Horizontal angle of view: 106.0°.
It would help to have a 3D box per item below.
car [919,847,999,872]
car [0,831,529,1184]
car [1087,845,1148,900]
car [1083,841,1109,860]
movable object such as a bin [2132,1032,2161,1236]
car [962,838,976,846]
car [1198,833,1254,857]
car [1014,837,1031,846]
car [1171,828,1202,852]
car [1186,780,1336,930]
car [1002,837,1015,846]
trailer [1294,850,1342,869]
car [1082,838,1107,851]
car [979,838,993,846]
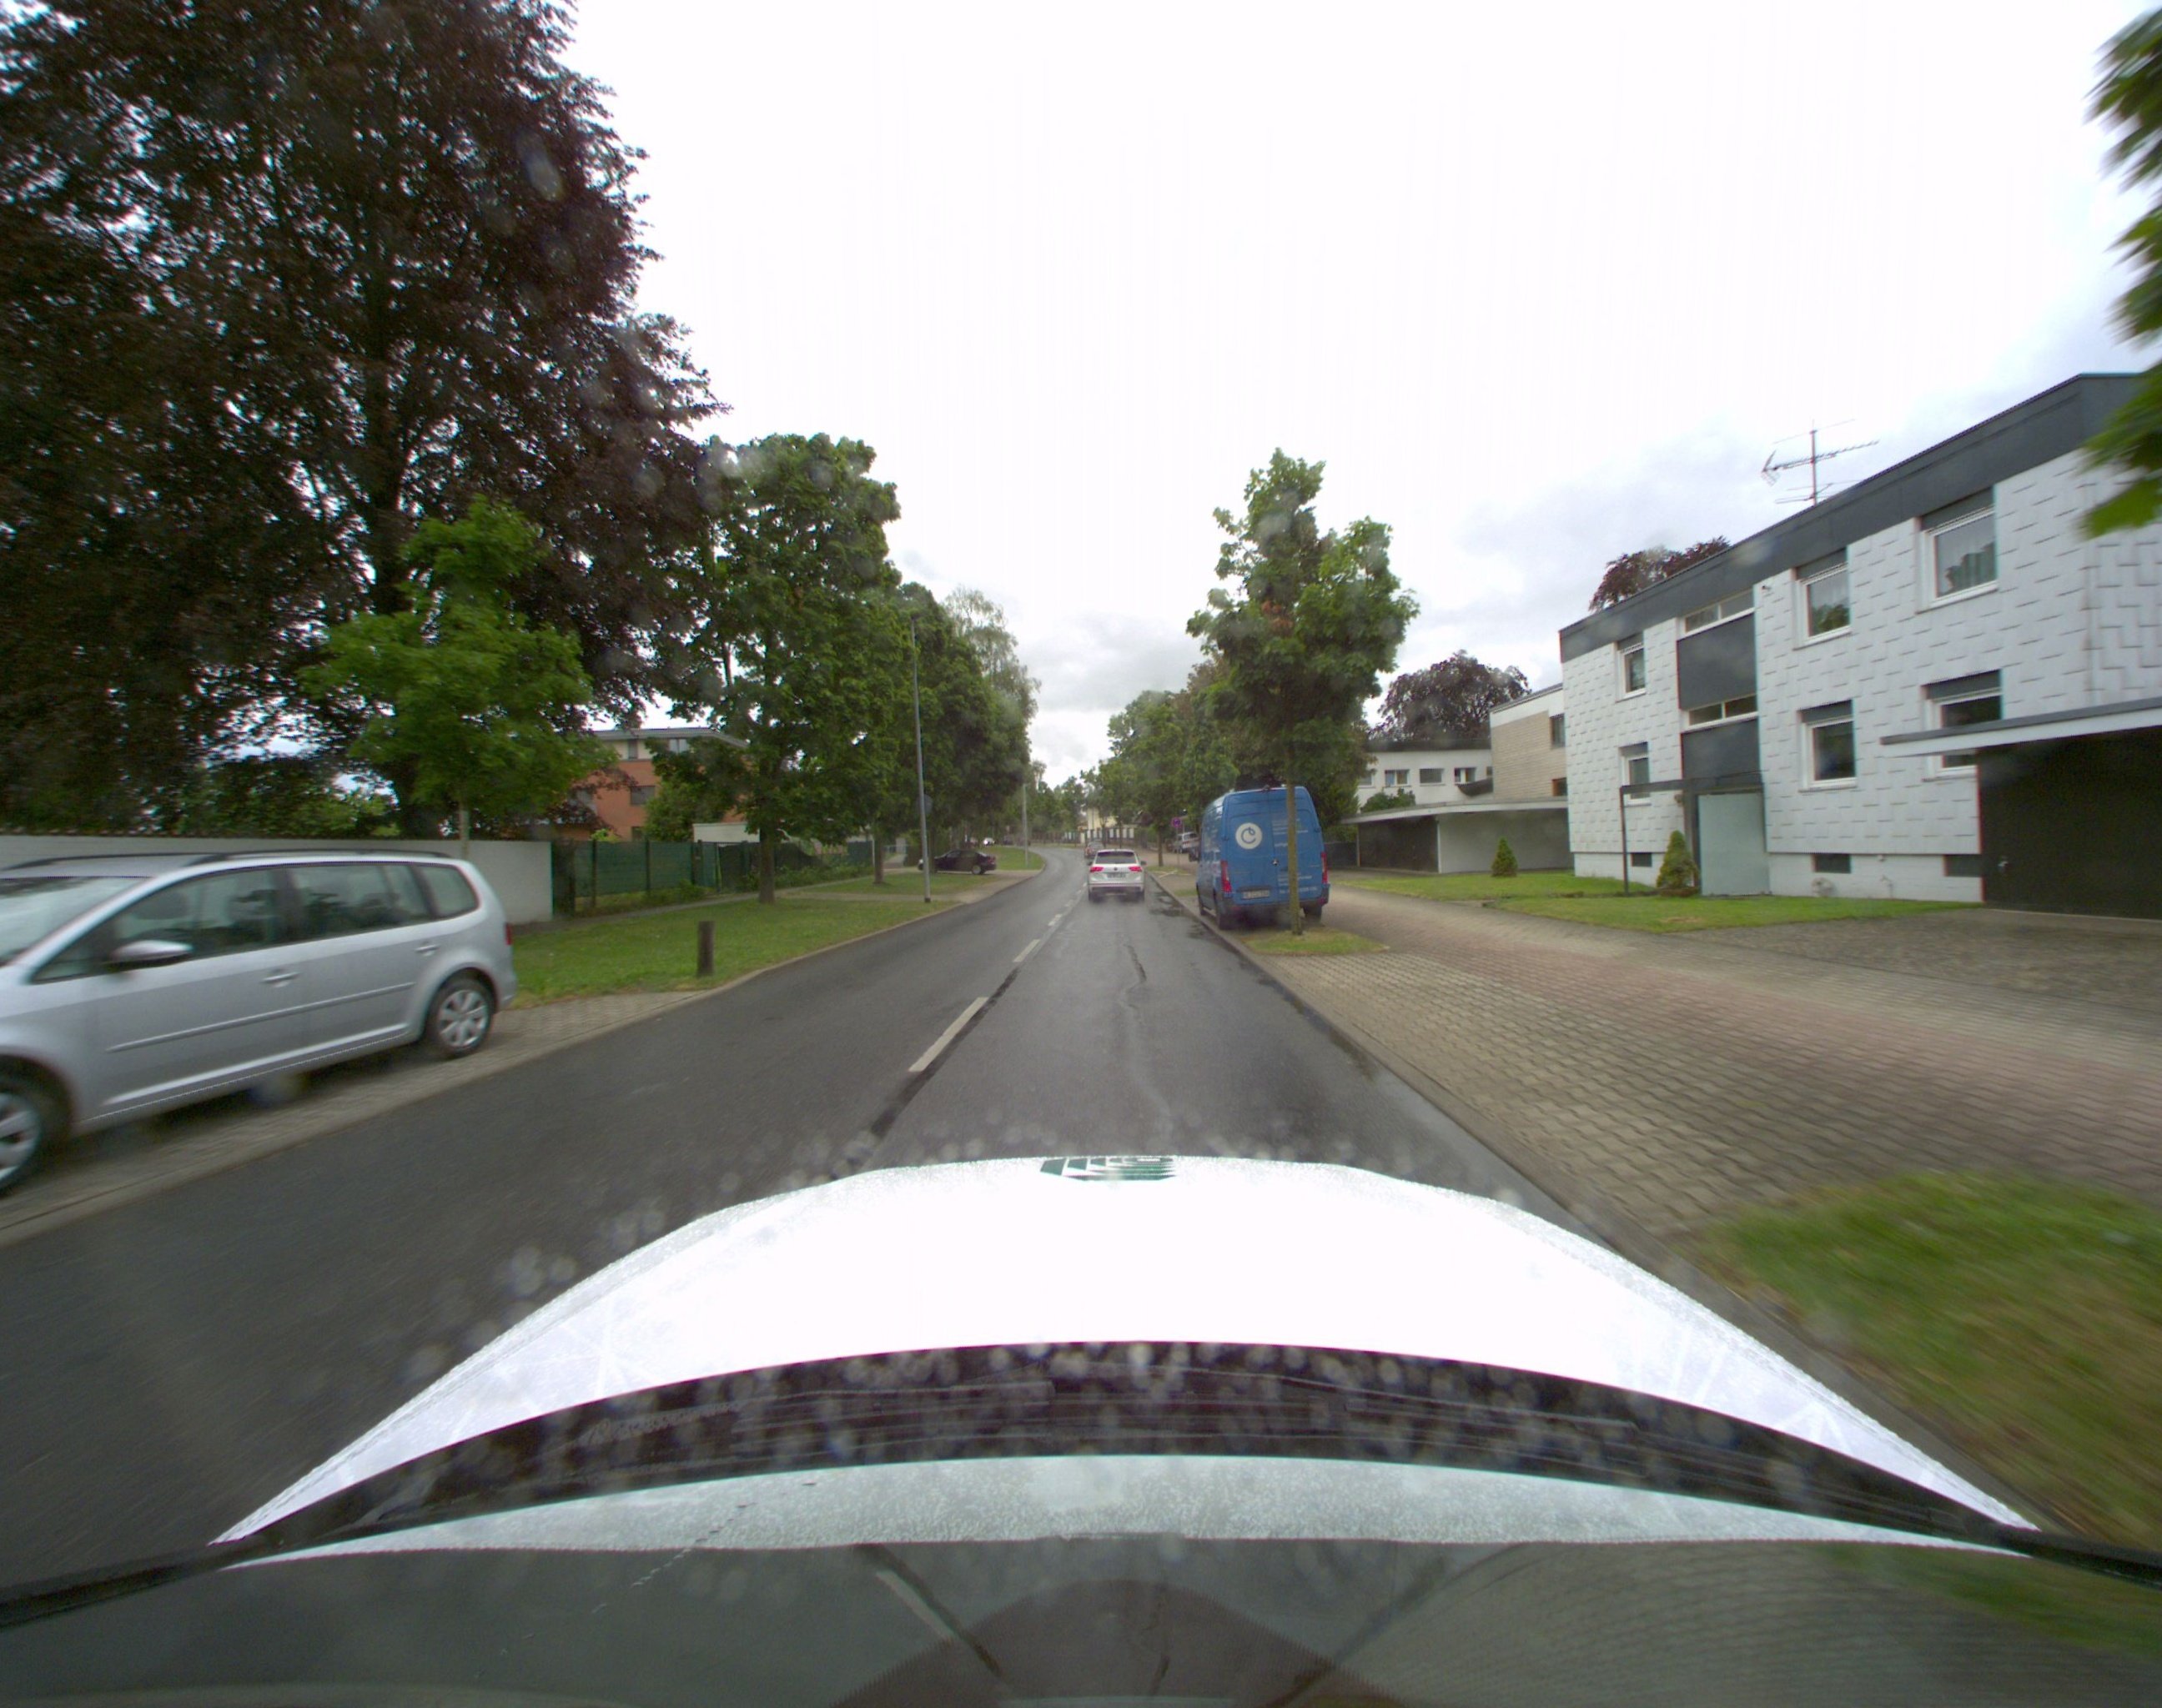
[{"bbox_3d":[-6.951,0.331,46.486,4.197,1.363,1.693,-1,0,6],"label":"car"},{"bbox_3d":[-5.811,0.728,4.998,1.749,1.627,4.236,-2,0,3],"label":"car"},{"bbox_3d":[1.192,0.561,27.354,1.858,1.650,4.001,-2,0,1],"label":"car"},{"bbox_3d":[1.303,-0.279,73.038,1.767,1.551,3.990,-2,0,-7],"label":"car"},{"bbox_3d":[2.431,0.858,1.329,0.608,1.015,0.566,-7,-2,27],"label":"movable object such as a bin"},{"bbox_3d":[-19.347,-2.108,141.136,1.771,1.427,3.977,-1,1,-18],"label":"car"},{"bbox_3d":[11.020,-0.700,62.054,3.977,1.708,1.828,-1,2,-2],"label":"car"},{"bbox_3d":[-9.161,-1.955,127.313,1.649,1.427,3.971,-1,1,-22],"label":"car"},{"bbox_3d":[9.435,-1.279,72.841,1.820,1.703,3.996,-10,3,-3],"label":"car"},{"bbox_3d":[3.602,0.001,17.467,1.986,2.586,5.636,-4,0,2],"label":"car"},{"bbox_3d":[-12.838,-2.229,143.711,1.645,1.427,3.980,-1,1,-15],"label":"car"},{"bbox_3d":[11.656,0.249,40.125,2.032,0.883,1.366,-1,0,5],"label":"trailer"},{"bbox_3d":[1.450,-1.090,91.588,1.646,1.427,3.977,-1,1,-17],"label":"car"},{"bbox_3d":[-16.659,-2.072,142.578,1.771,1.427,3.977,-1,1,-18],"label":"car"}]
